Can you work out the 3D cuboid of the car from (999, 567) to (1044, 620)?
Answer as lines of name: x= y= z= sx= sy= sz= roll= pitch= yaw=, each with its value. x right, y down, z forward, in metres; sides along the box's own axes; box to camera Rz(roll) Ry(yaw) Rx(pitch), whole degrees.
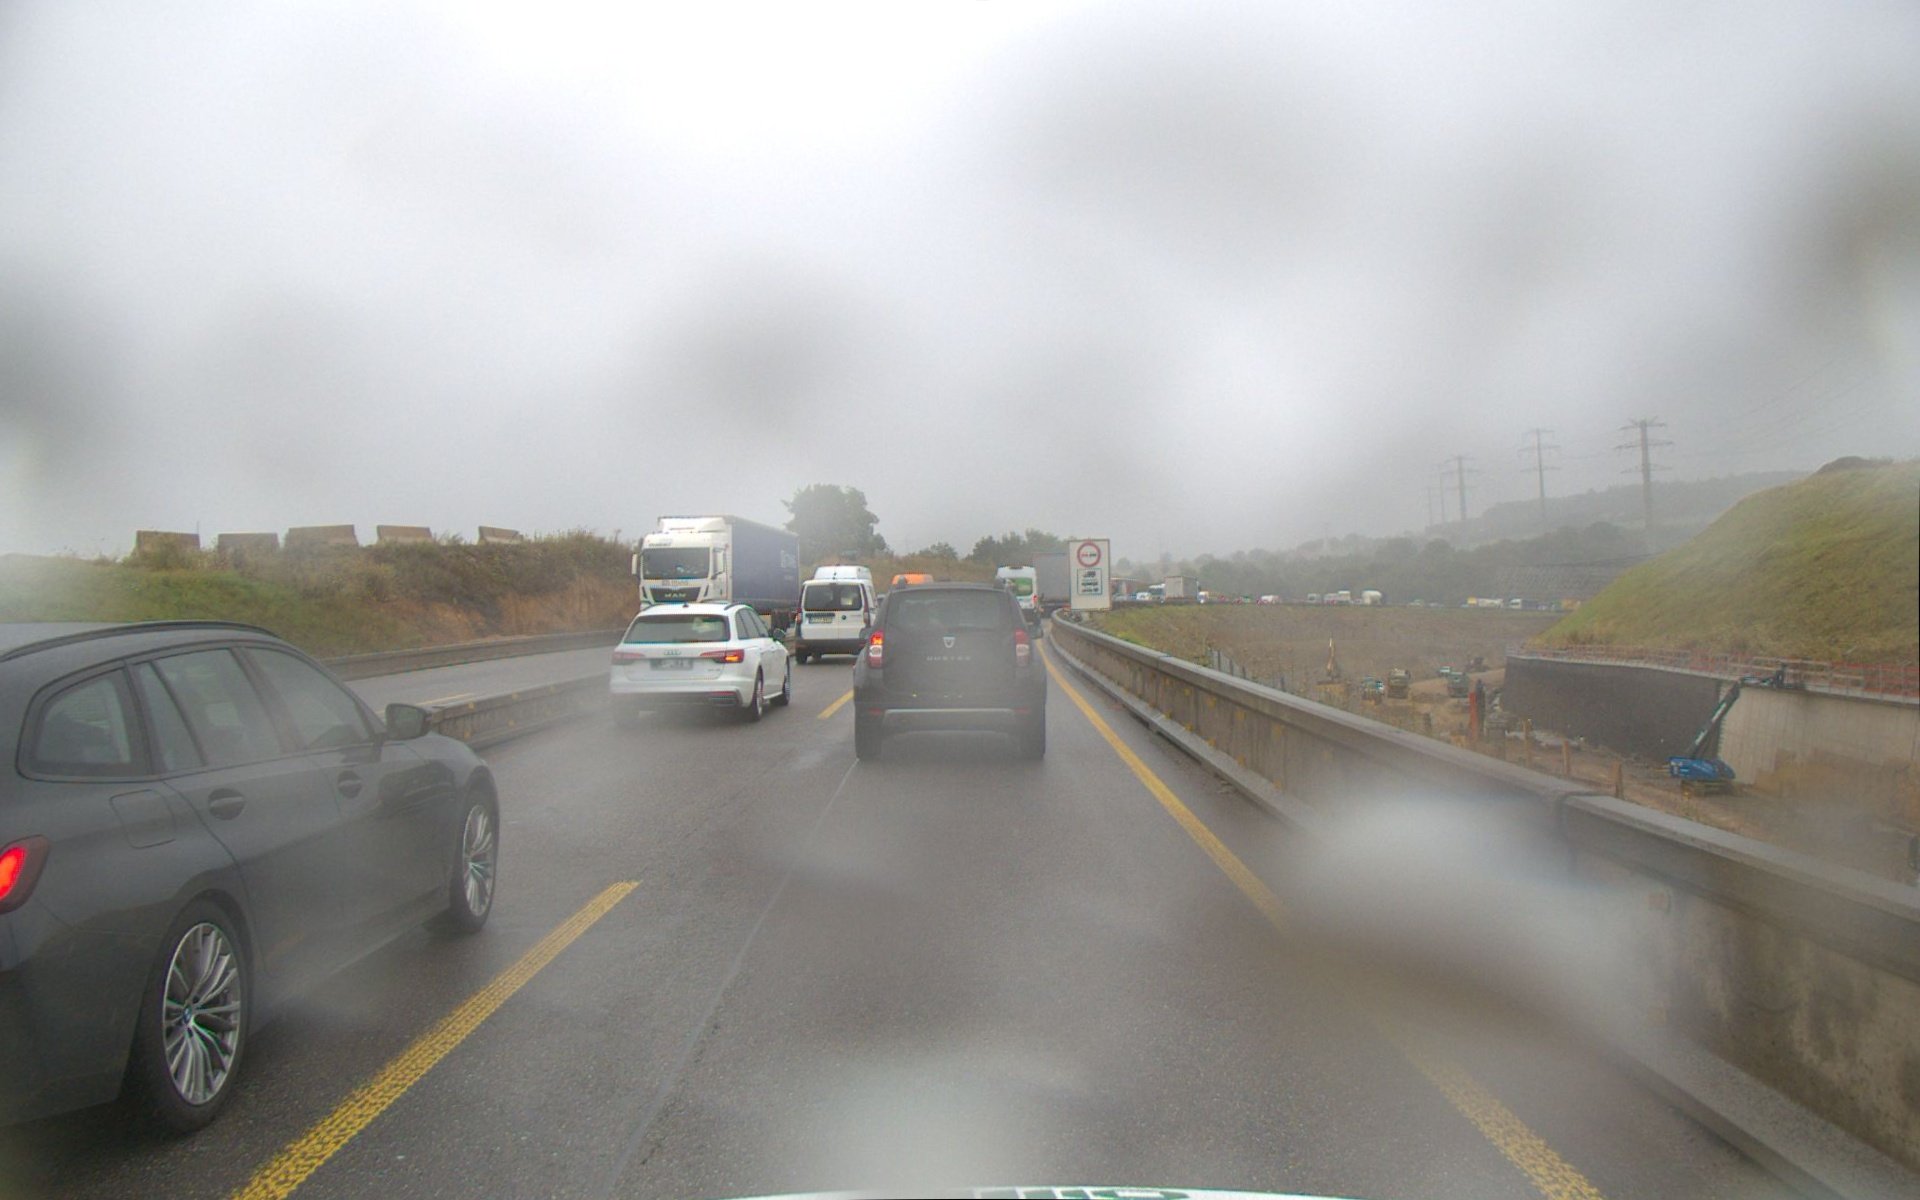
car: x=2.967 y=-0.293 z=79.120 sx=1.787 sy=2.480 sz=4.161 roll=0 pitch=-1 yaw=7

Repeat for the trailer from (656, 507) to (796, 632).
trailer: x=-8.360 y=-1.126 z=61.230 sx=2.721 sy=4.105 sz=13.746 roll=0 pitch=1 yaw=2

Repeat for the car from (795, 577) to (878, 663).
car: x=-2.802 y=0.452 z=37.653 sx=1.790 sy=1.847 sz=3.996 roll=0 pitch=-1 yaw=-4

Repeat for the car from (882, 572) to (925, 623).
car: x=-2.961 y=-0.157 z=88.119 sx=2.012 sy=2.622 sz=7.021 roll=0 pitch=1 yaw=0

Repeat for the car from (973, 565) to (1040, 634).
car: x=1.348 y=0.017 z=46.511 sx=1.788 sy=1.847 sz=4.001 roll=0 pitch=-1 yaw=3

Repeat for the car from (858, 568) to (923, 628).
car: x=-2.188 y=-0.045 z=52.813 sx=1.788 sy=1.847 sz=4.001 roll=0 pitch=-1 yaw=2

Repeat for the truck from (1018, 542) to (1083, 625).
truck: x=6.048 y=-0.996 z=108.632 sx=3.468 sy=5.166 sz=10.449 roll=0 pitch=-1 yaw=7

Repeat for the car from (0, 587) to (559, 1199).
car: x=-2.917 y=0.771 z=5.782 sx=1.699 sy=1.488 sz=5.629 roll=-1 pitch=2 yaw=-1

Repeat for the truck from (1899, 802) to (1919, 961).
truck: x=23.119 y=6.489 z=34.319 sx=2.672 sy=3.552 sz=9.069 roll=0 pitch=-1 yaw=4

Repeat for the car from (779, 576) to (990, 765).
car: x=-0.619 y=0.627 z=16.305 sx=1.788 sy=1.619 sz=4.001 roll=0 pitch=-1 yaw=2

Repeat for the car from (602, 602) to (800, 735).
car: x=-3.177 y=0.806 z=21.005 sx=1.788 sy=1.525 sz=4.000 roll=0 pitch=-1 yaw=1

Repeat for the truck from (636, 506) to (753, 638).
truck: x=-8.622 y=-0.918 z=54.409 sx=2.730 sy=4.105 sz=5.821 roll=0 pitch=1 yaw=2

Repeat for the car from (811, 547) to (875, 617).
car: x=-4.676 y=-0.742 z=67.062 sx=1.964 sy=2.700 sz=6.886 roll=0 pitch=1 yaw=1

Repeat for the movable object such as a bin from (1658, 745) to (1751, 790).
movable object such as a bin: x=37.241 y=8.367 z=82.837 sx=1.978 sy=2.049 sz=3.791 roll=3 pitch=-4 yaw=-36

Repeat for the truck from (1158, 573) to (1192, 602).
truck: x=29.367 y=-1.756 z=225.393 sx=3.398 sy=3.780 sz=8.424 roll=-1 pitch=0 yaw=16
